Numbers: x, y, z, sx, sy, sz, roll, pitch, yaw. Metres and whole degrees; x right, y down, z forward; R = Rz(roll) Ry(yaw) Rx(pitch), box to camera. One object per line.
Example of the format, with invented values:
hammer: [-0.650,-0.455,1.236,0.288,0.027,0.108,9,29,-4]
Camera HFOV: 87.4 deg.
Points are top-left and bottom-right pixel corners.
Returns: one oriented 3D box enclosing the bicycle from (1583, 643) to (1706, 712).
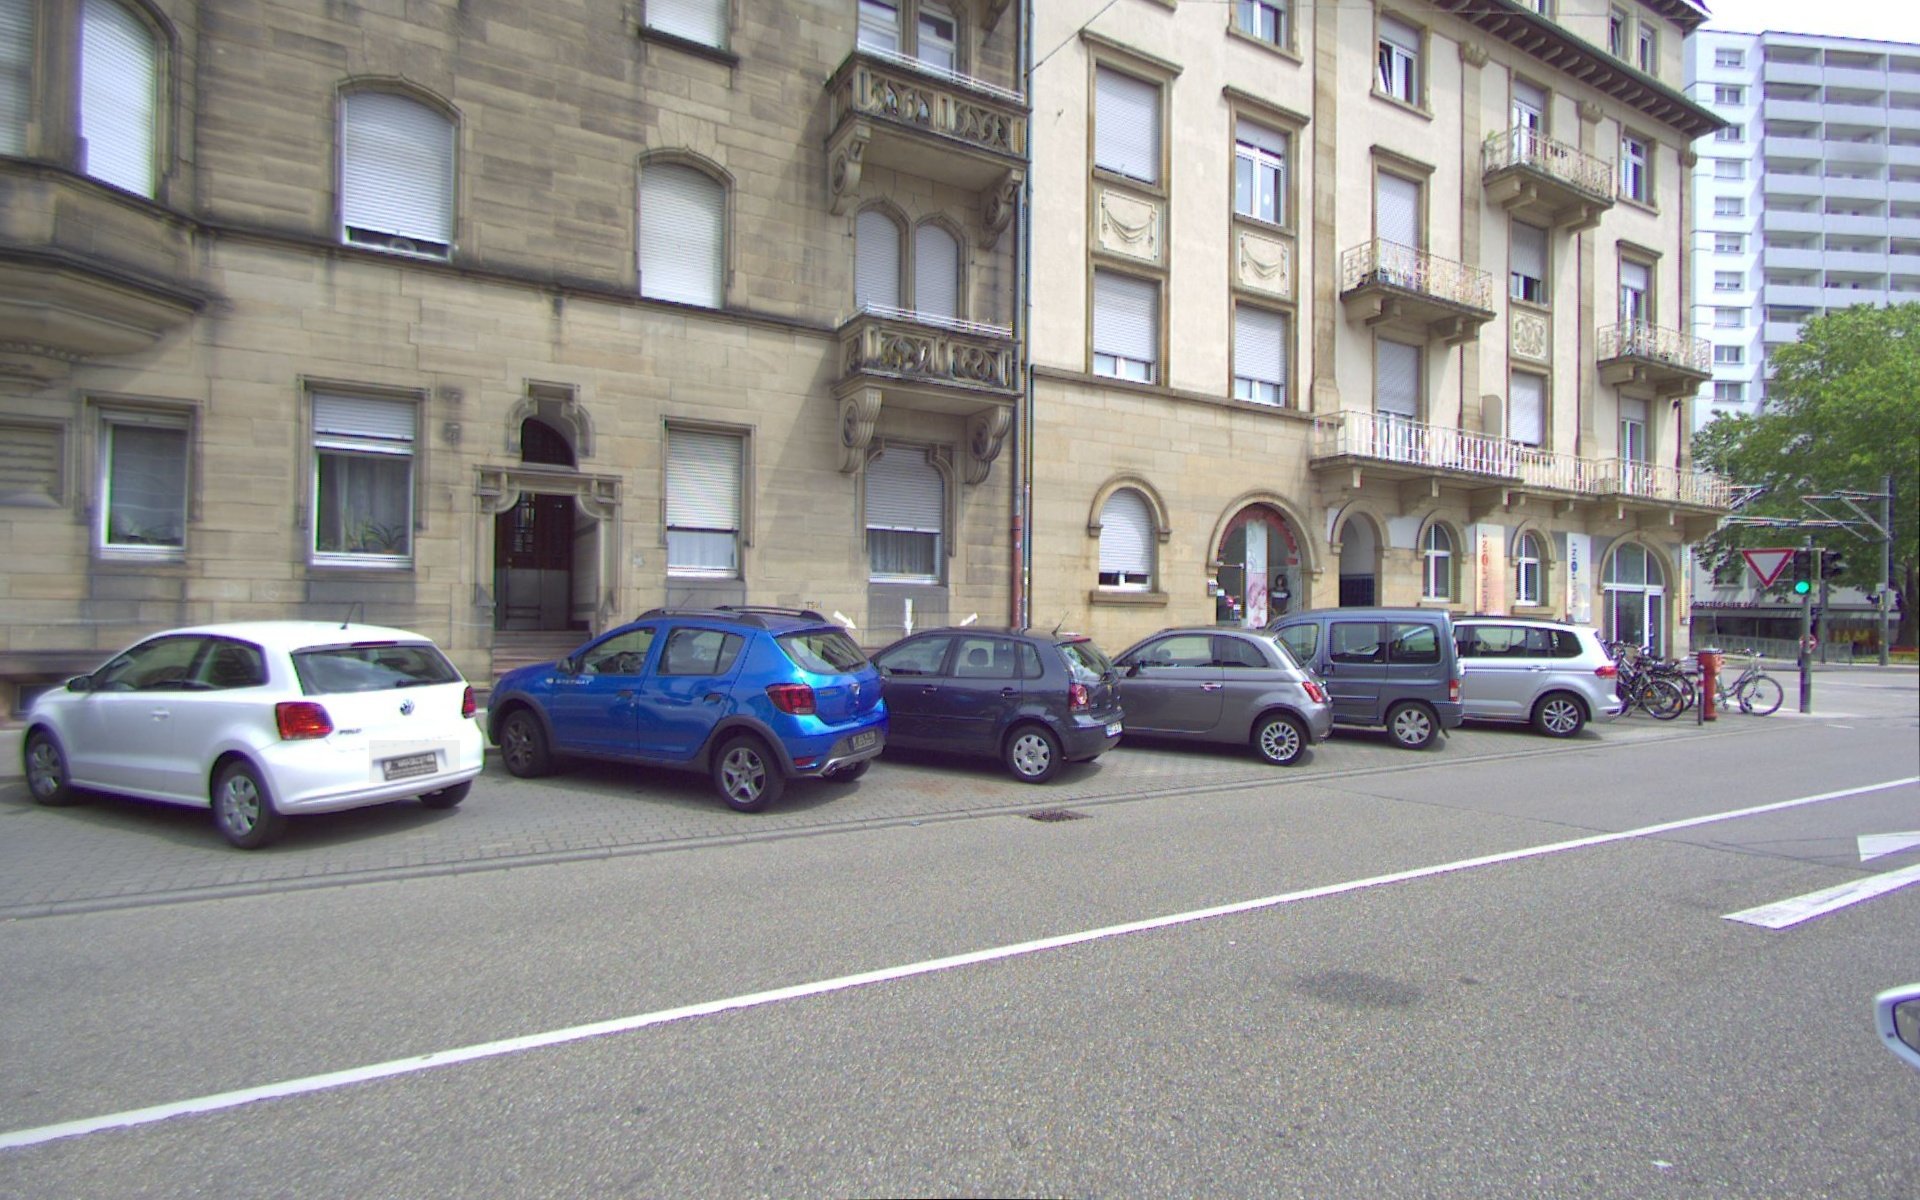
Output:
bicycle: [12.852,1.430,18.898,0.588,1.135,1.796,1,1,-37]

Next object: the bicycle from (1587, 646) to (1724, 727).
bicycle: [11.652,1.418,16.892,0.586,1.135,1.803,1,2,-25]

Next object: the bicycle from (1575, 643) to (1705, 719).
bicycle: [11.996,1.400,17.772,0.588,1.182,1.796,1,1,-37]

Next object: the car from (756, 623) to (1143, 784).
car: [-0.105,1.000,10.993,3.830,1.463,1.836,0,-1,25]

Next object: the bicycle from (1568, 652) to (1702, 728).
bicycle: [11.076,1.442,16.556,0.586,1.135,1.805,1,-1,-23]

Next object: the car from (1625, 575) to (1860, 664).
car: [38.280,0.992,49.849,3.389,3.967,9.911,0,-1,-5]

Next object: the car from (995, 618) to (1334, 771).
car: [2.597,1.077,12.658,3.934,1.673,1.796,0,-1,22]

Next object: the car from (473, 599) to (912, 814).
car: [-2.494,0.856,9.385,3.706,1.673,1.723,0,-1,24]

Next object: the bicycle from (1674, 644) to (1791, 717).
bicycle: [14.267,1.458,18.615,0.489,1.182,1.878,2,1,-9]

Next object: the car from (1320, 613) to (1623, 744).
car: [7.663,1.118,15.456,3.934,1.797,1.796,0,-1,22]

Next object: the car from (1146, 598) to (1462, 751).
car: [4.732,0.943,14.044,3.934,1.903,1.796,0,-1,22]

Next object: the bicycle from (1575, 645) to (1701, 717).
bicycle: [12.358,1.445,18.366,0.588,1.135,1.796,1,1,-37]

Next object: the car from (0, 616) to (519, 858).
car: [-5.463,0.888,7.837,3.616,1.501,1.741,0,-1,25]
